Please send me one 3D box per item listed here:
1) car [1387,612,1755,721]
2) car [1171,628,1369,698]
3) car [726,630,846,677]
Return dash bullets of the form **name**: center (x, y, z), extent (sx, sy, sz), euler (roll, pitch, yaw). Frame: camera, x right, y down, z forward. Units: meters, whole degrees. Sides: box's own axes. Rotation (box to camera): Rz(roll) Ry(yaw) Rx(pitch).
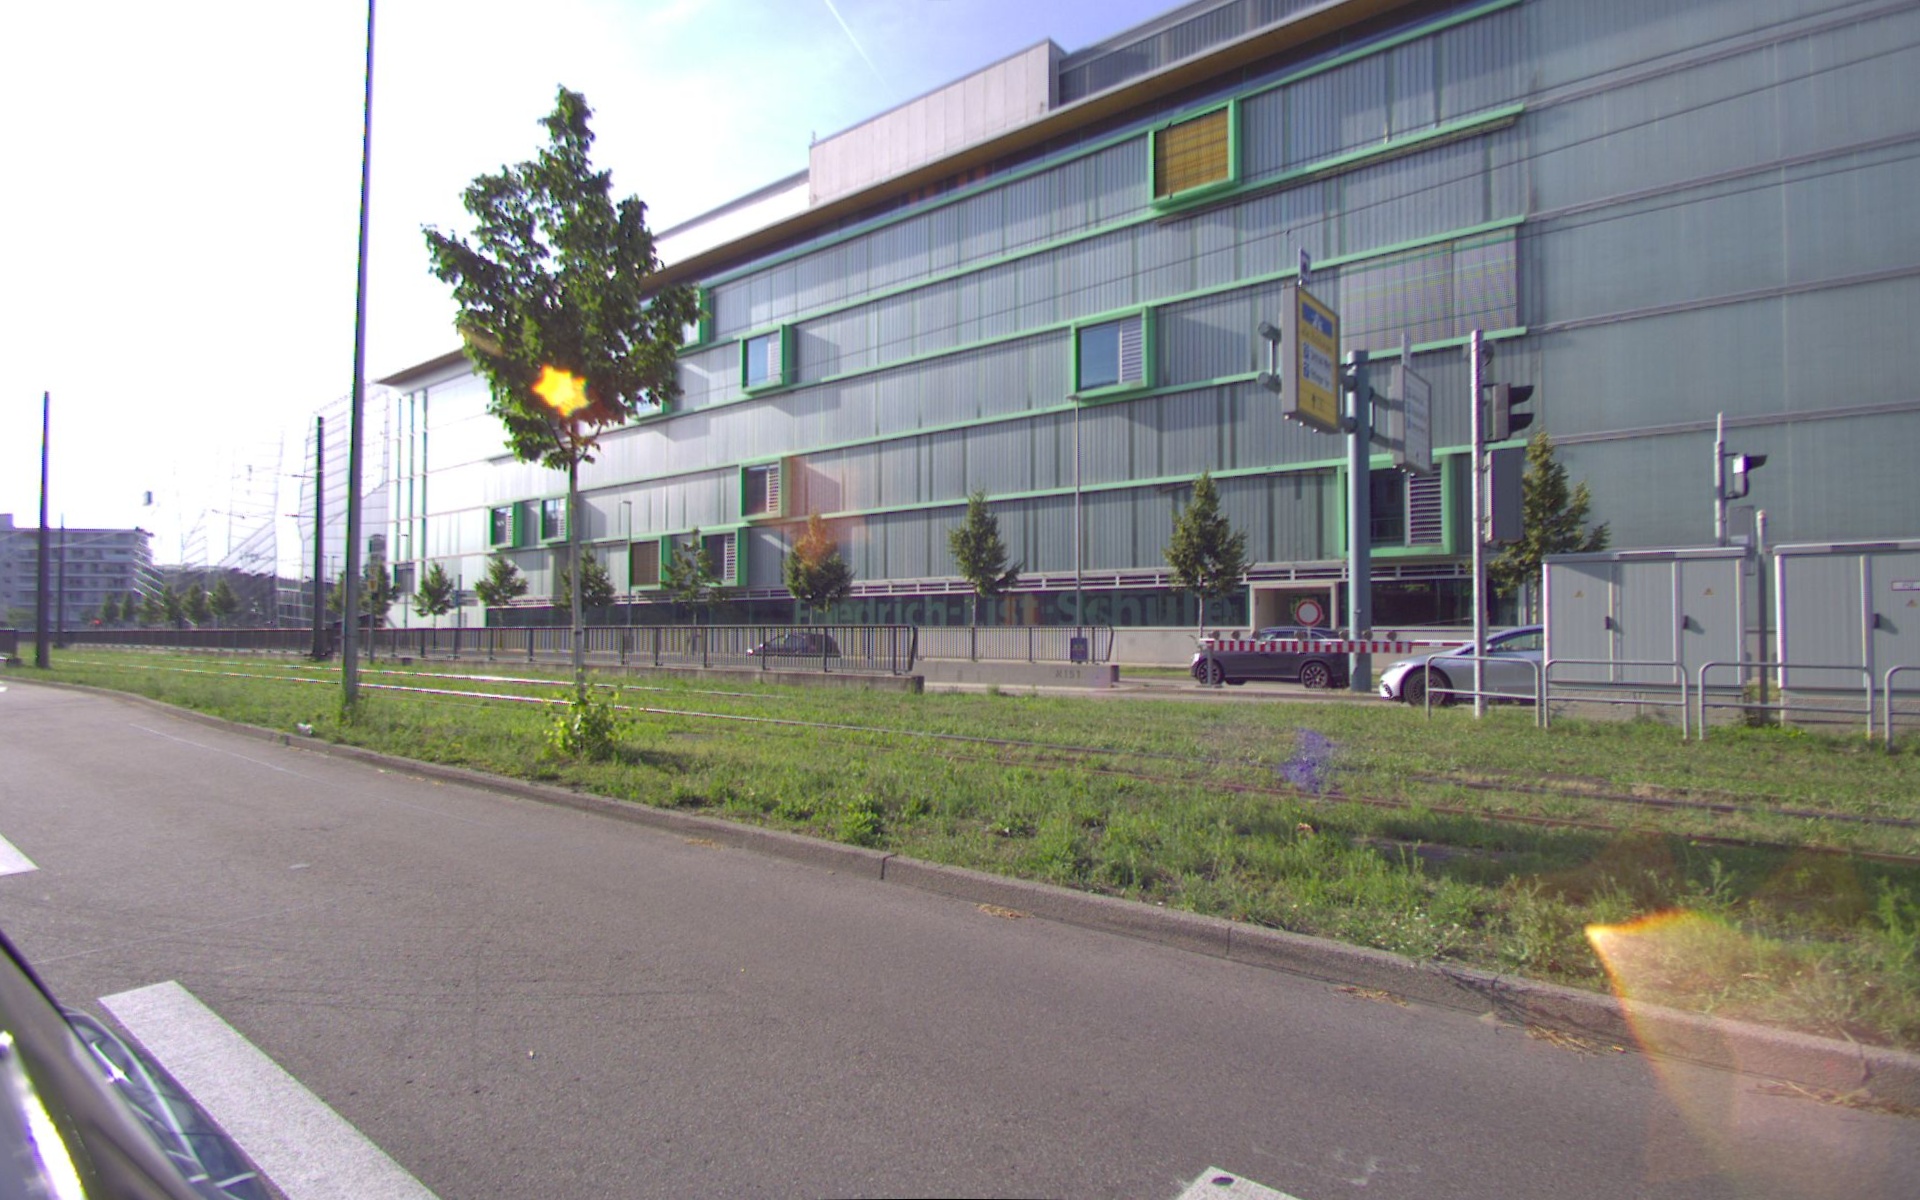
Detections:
- **car**: center (9.824, 1.089, 16.585), extent (4.902, 1.539, 1.976), euler (-2, -6, 36)
- **car**: center (8.144, 1.619, 26.822), extent (4.611, 1.700, 1.974), euler (-2, -3, 39)
- **car**: center (-6.730, 2.042, 38.920), extent (4.721, 1.700, 1.974), euler (-2, -3, 39)
